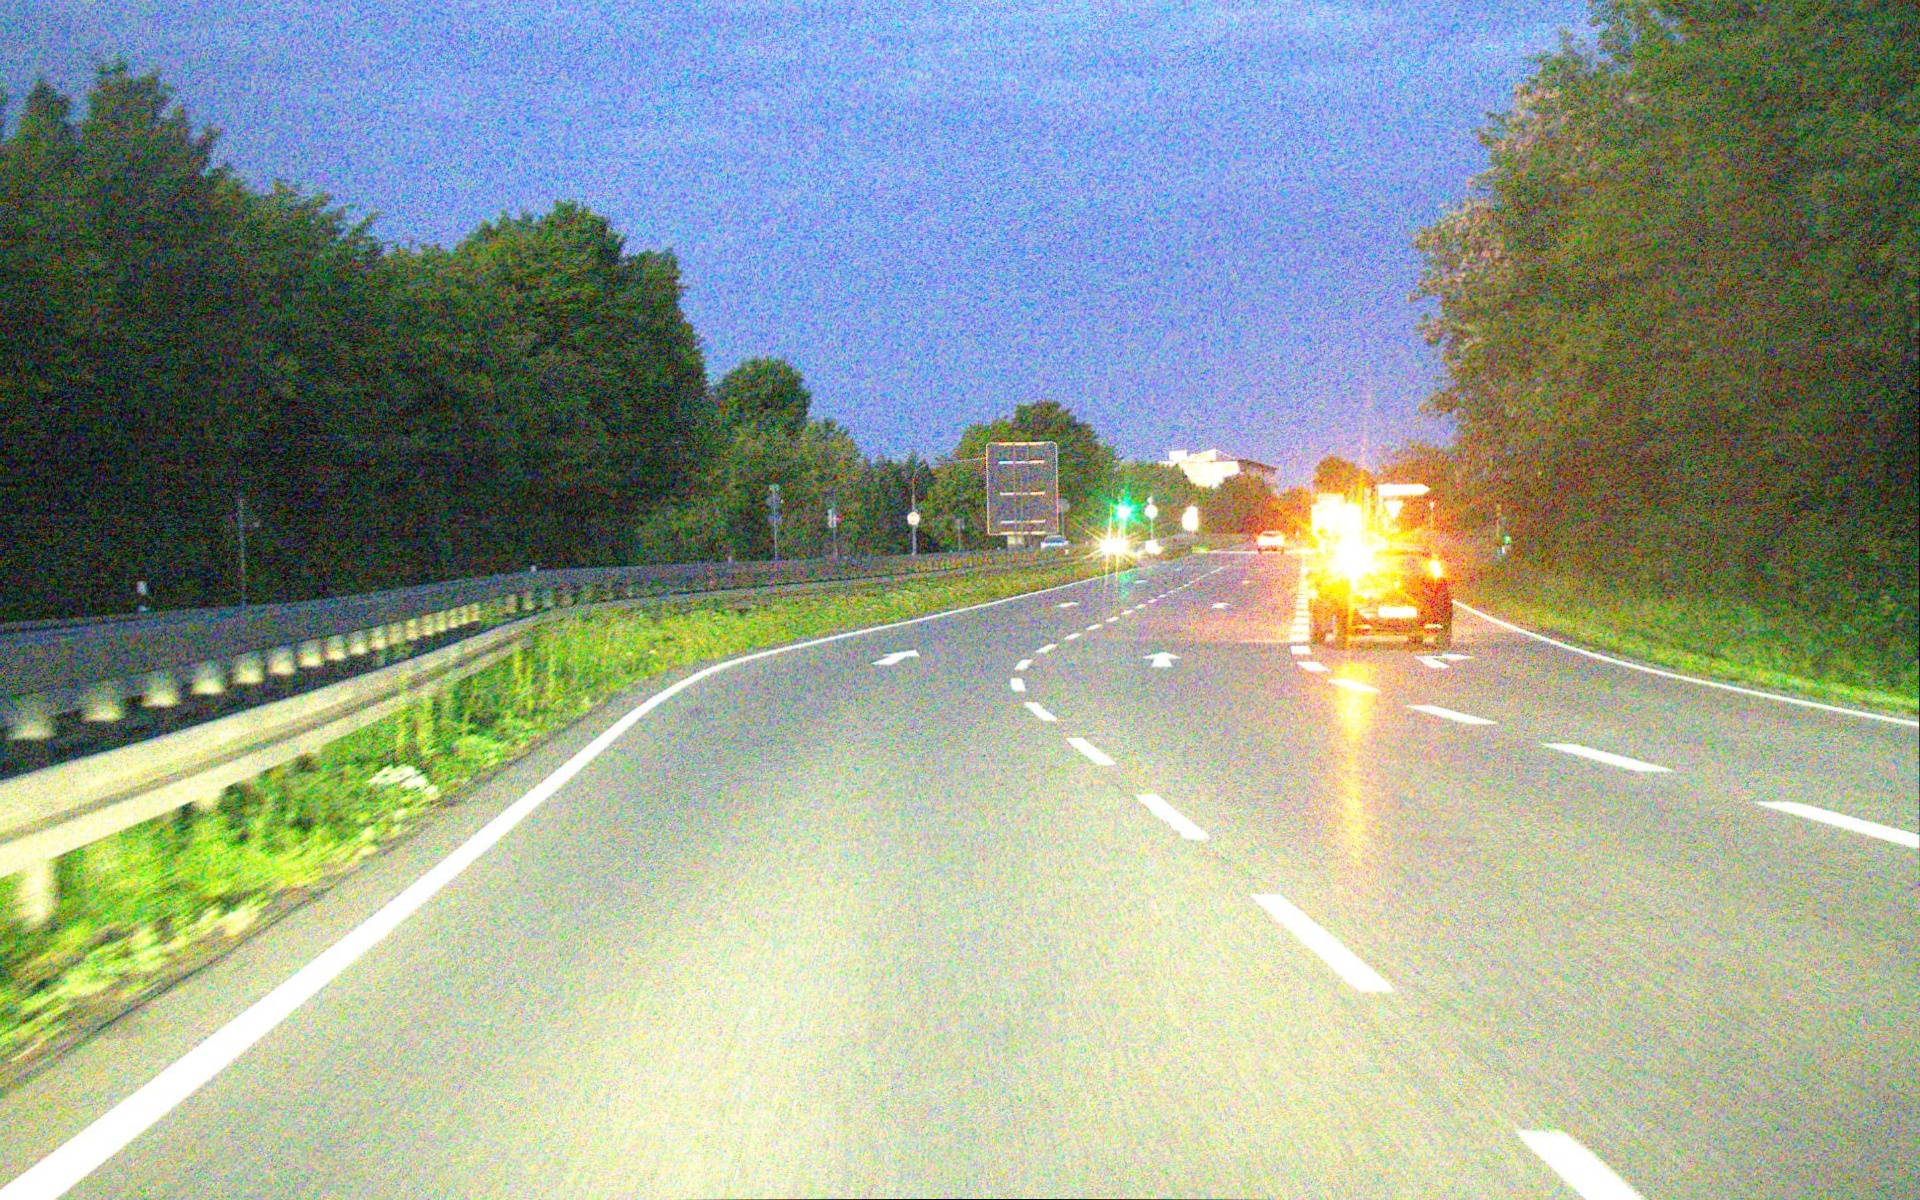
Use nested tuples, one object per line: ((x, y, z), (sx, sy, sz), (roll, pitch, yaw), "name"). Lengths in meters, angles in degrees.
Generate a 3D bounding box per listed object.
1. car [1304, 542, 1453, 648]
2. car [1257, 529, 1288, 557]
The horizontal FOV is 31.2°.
((6.034, -0.107, 50.013), (1.753, 1.448, 4.433), (-1, 1, 2), "car")
((21.943, -4.010, 241.486), (1.994, 1.744, 3.999), (-4, 0, 4), "car")
